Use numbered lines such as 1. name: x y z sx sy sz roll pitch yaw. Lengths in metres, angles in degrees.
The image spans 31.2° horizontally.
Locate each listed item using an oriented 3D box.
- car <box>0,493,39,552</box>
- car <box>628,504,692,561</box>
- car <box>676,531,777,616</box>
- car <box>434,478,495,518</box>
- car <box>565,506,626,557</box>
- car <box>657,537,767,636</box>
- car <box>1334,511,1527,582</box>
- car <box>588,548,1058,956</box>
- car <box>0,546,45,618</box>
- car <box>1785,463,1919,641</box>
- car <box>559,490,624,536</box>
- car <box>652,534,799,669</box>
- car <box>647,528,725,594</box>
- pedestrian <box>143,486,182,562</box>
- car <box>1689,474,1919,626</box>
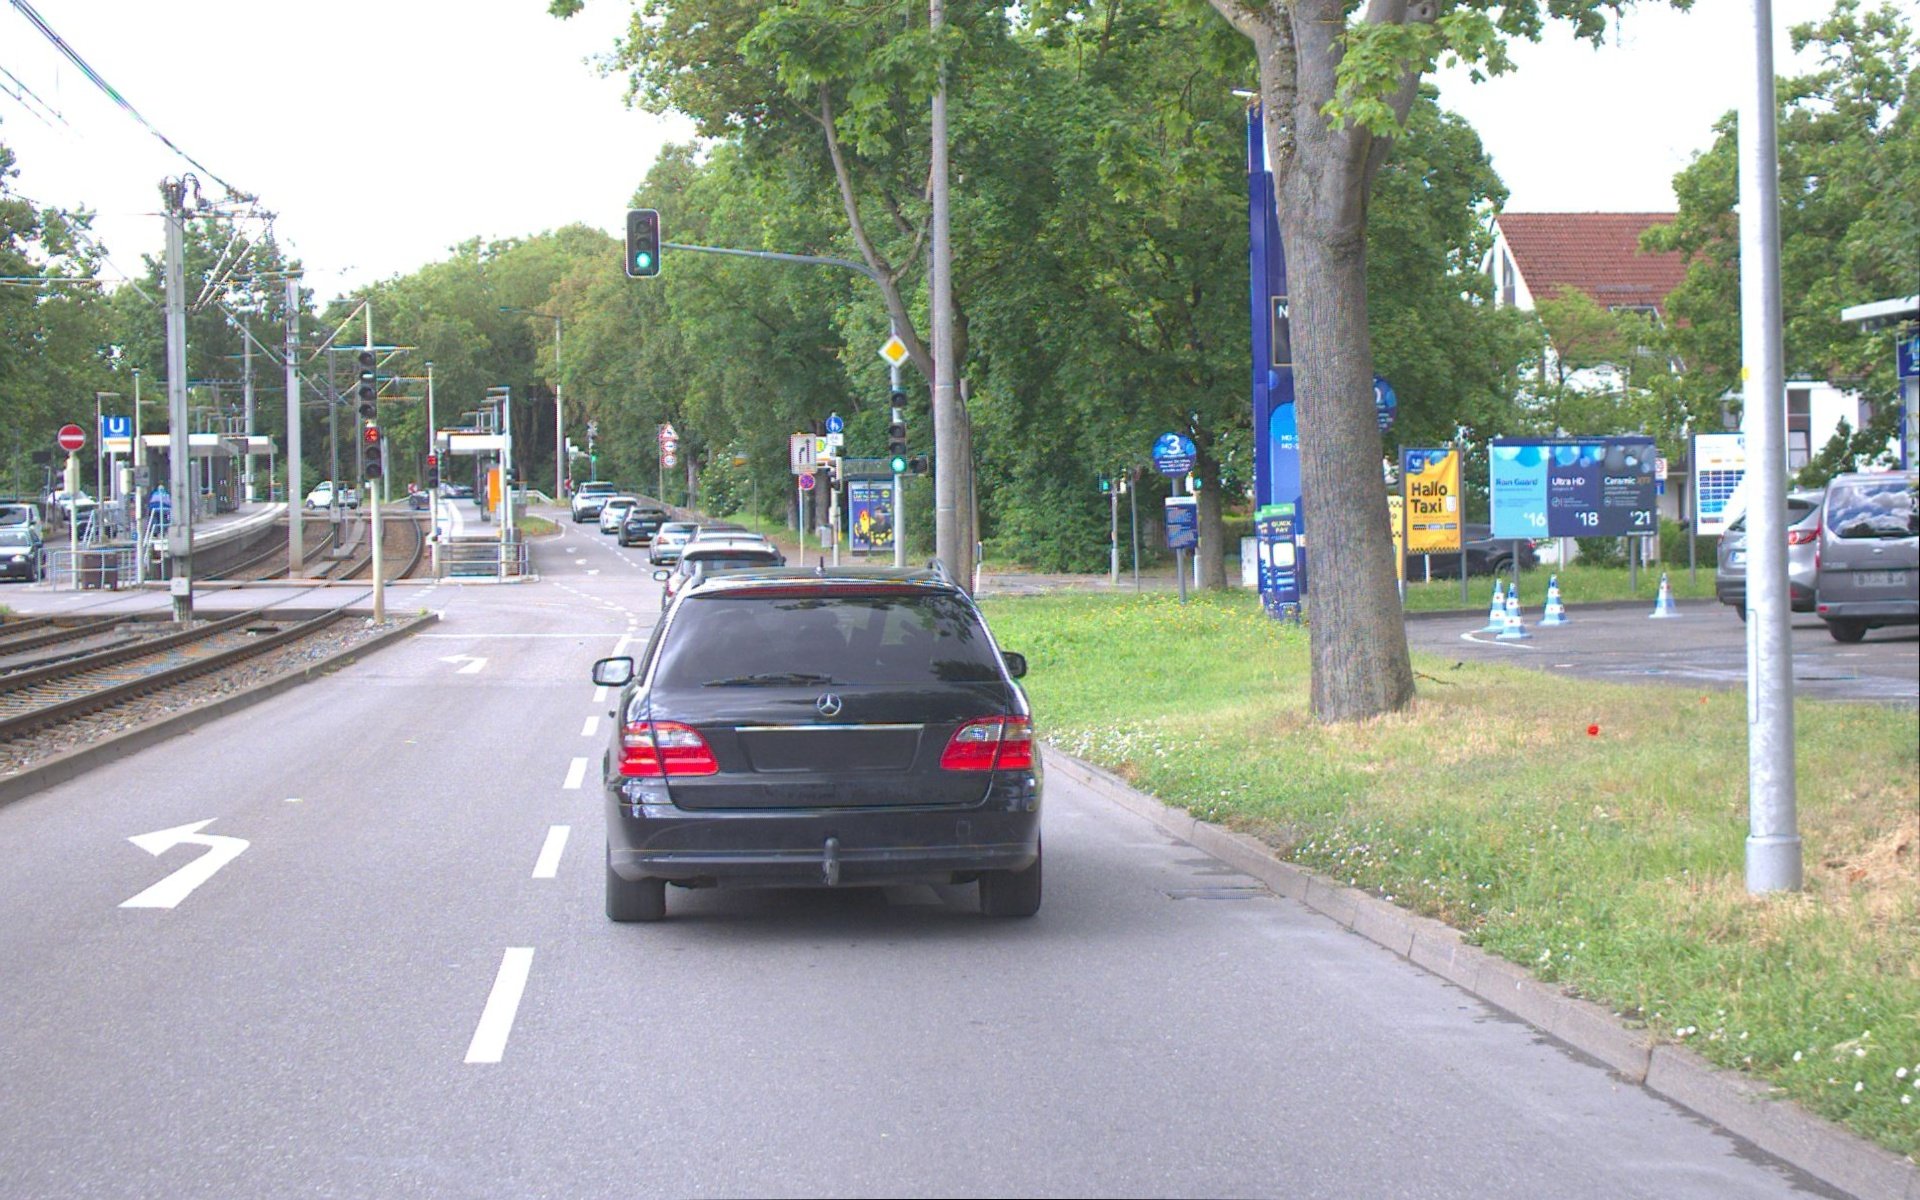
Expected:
1. car: -33.449 -2.698 120.339 1.993 2.007 4.887 -2 1 -11
2. car: -10.749 -2.411 122.955 1.993 1.960 4.001 1 1 -9
3. car: -5.535 -0.636 81.234 1.993 1.911 4.001 1 1 -9
4. car: -25.918 -5.328 179.896 1.993 2.007 4.001 1 1 -26
5. car: -14.861 -2.792 140.051 1.993 2.007 4.001 1 1 -13
6. car: -4.309 -0.254 60.274 1.781 1.642 4.001 1 1 -3
7. car: 10.689 -1.214 78.280 4.152 1.521 1.704 -1 1 0
8. car: -0.705 0.542 15.062 1.781 1.520 4.001 0 1 -5
9. car: -25.469 -0.504 91.549 1.696 1.854 4.001 1 1 -9
10. car: 10.787 -0.560 37.093 1.750 1.815 4.374 0 2 42
11. car: -16.718 -3.943 155.853 1.993 2.007 4.001 1 1 -20
12. car: -3.016 -0.005 44.847 1.781 1.642 4.001 1 1 -3
13. car: -8.202 -1.168 102.634 1.993 1.886 4.001 1 1 -9
14. pedestrian: -22.858 -2.187 98.597 0.969 2.178 0.976 -1 1 -7
15. car: 11.039 -0.640 41.135 4.198 1.691 1.841 -2 2 -23
